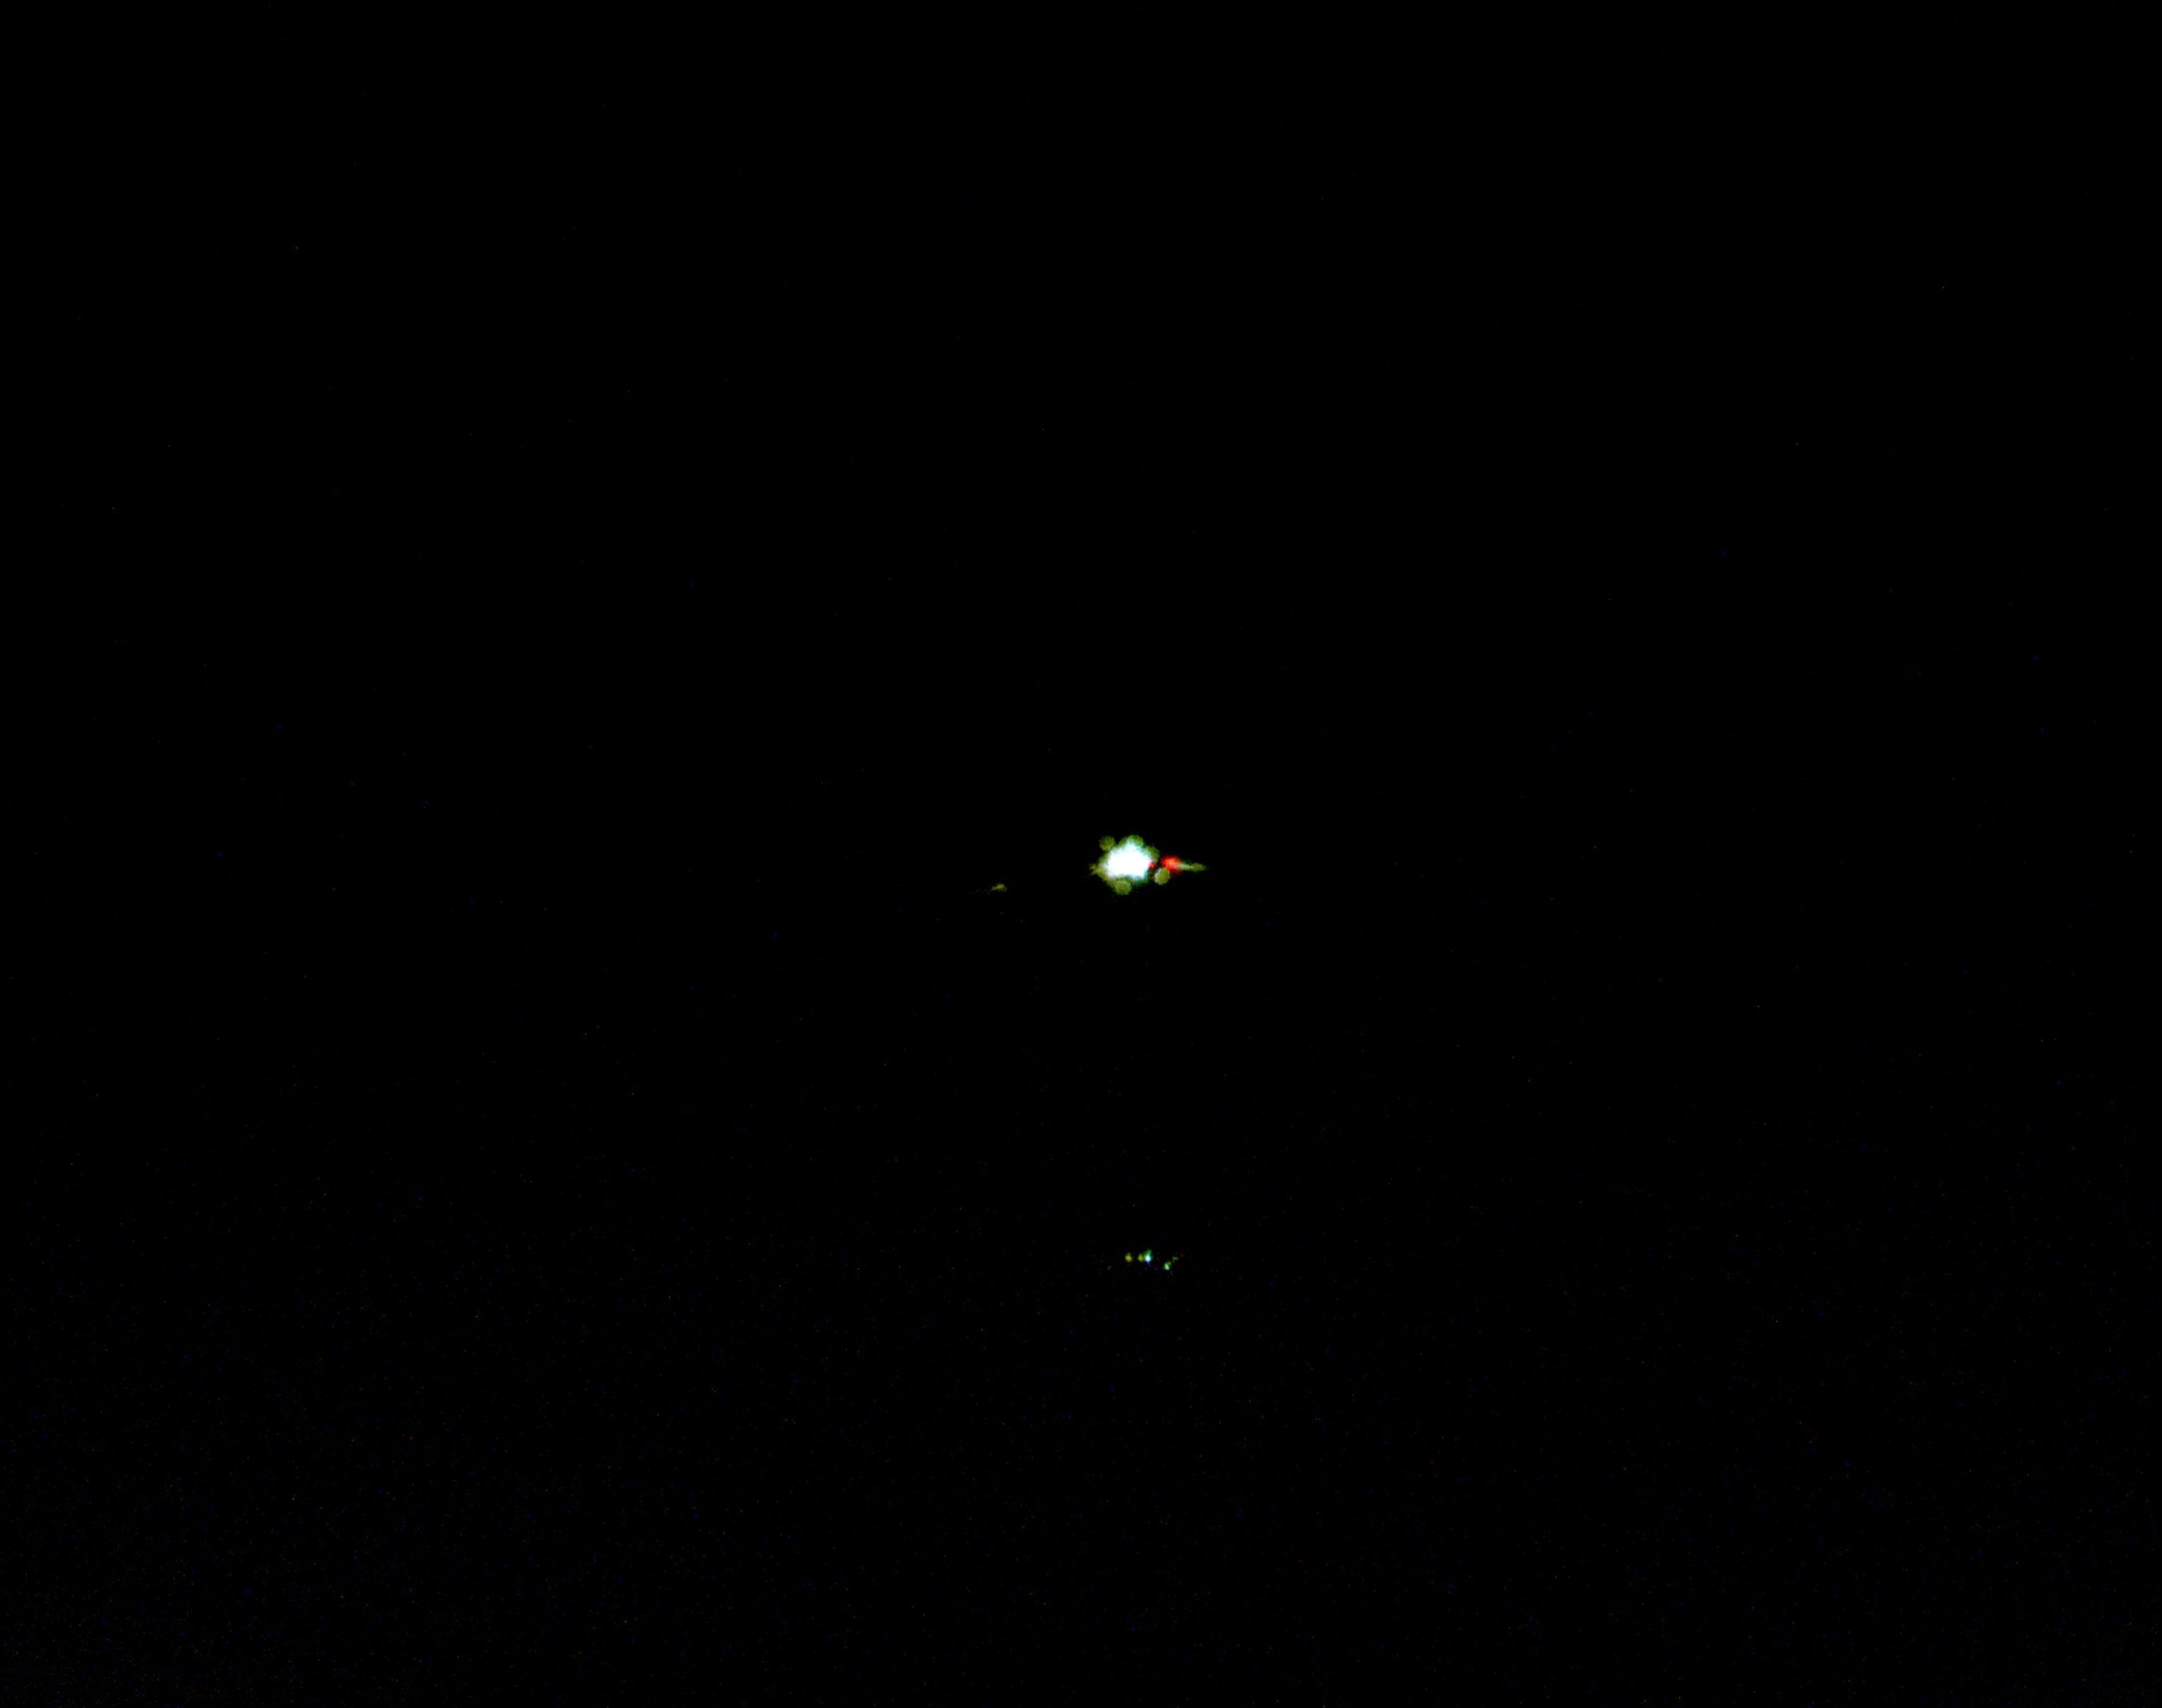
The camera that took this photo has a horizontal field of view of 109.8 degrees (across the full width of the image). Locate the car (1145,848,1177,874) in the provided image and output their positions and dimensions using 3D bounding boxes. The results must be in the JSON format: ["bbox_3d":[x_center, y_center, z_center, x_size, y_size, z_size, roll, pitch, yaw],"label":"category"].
[{"bbox_3d":[5.322,0.451,50.691,1.925,1.636,4.026,-1,0,4],"label":"car"}]

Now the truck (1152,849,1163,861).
[{"bbox_3d":[16.192,0.171,160.849,2.142,2.520,5.280,-2,0,4],"label":"truck"}]

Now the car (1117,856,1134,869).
[{"bbox_3d":[5.806,1.119,99.294,1.745,1.623,3.738,-1,0,9],"label":"car"}]
